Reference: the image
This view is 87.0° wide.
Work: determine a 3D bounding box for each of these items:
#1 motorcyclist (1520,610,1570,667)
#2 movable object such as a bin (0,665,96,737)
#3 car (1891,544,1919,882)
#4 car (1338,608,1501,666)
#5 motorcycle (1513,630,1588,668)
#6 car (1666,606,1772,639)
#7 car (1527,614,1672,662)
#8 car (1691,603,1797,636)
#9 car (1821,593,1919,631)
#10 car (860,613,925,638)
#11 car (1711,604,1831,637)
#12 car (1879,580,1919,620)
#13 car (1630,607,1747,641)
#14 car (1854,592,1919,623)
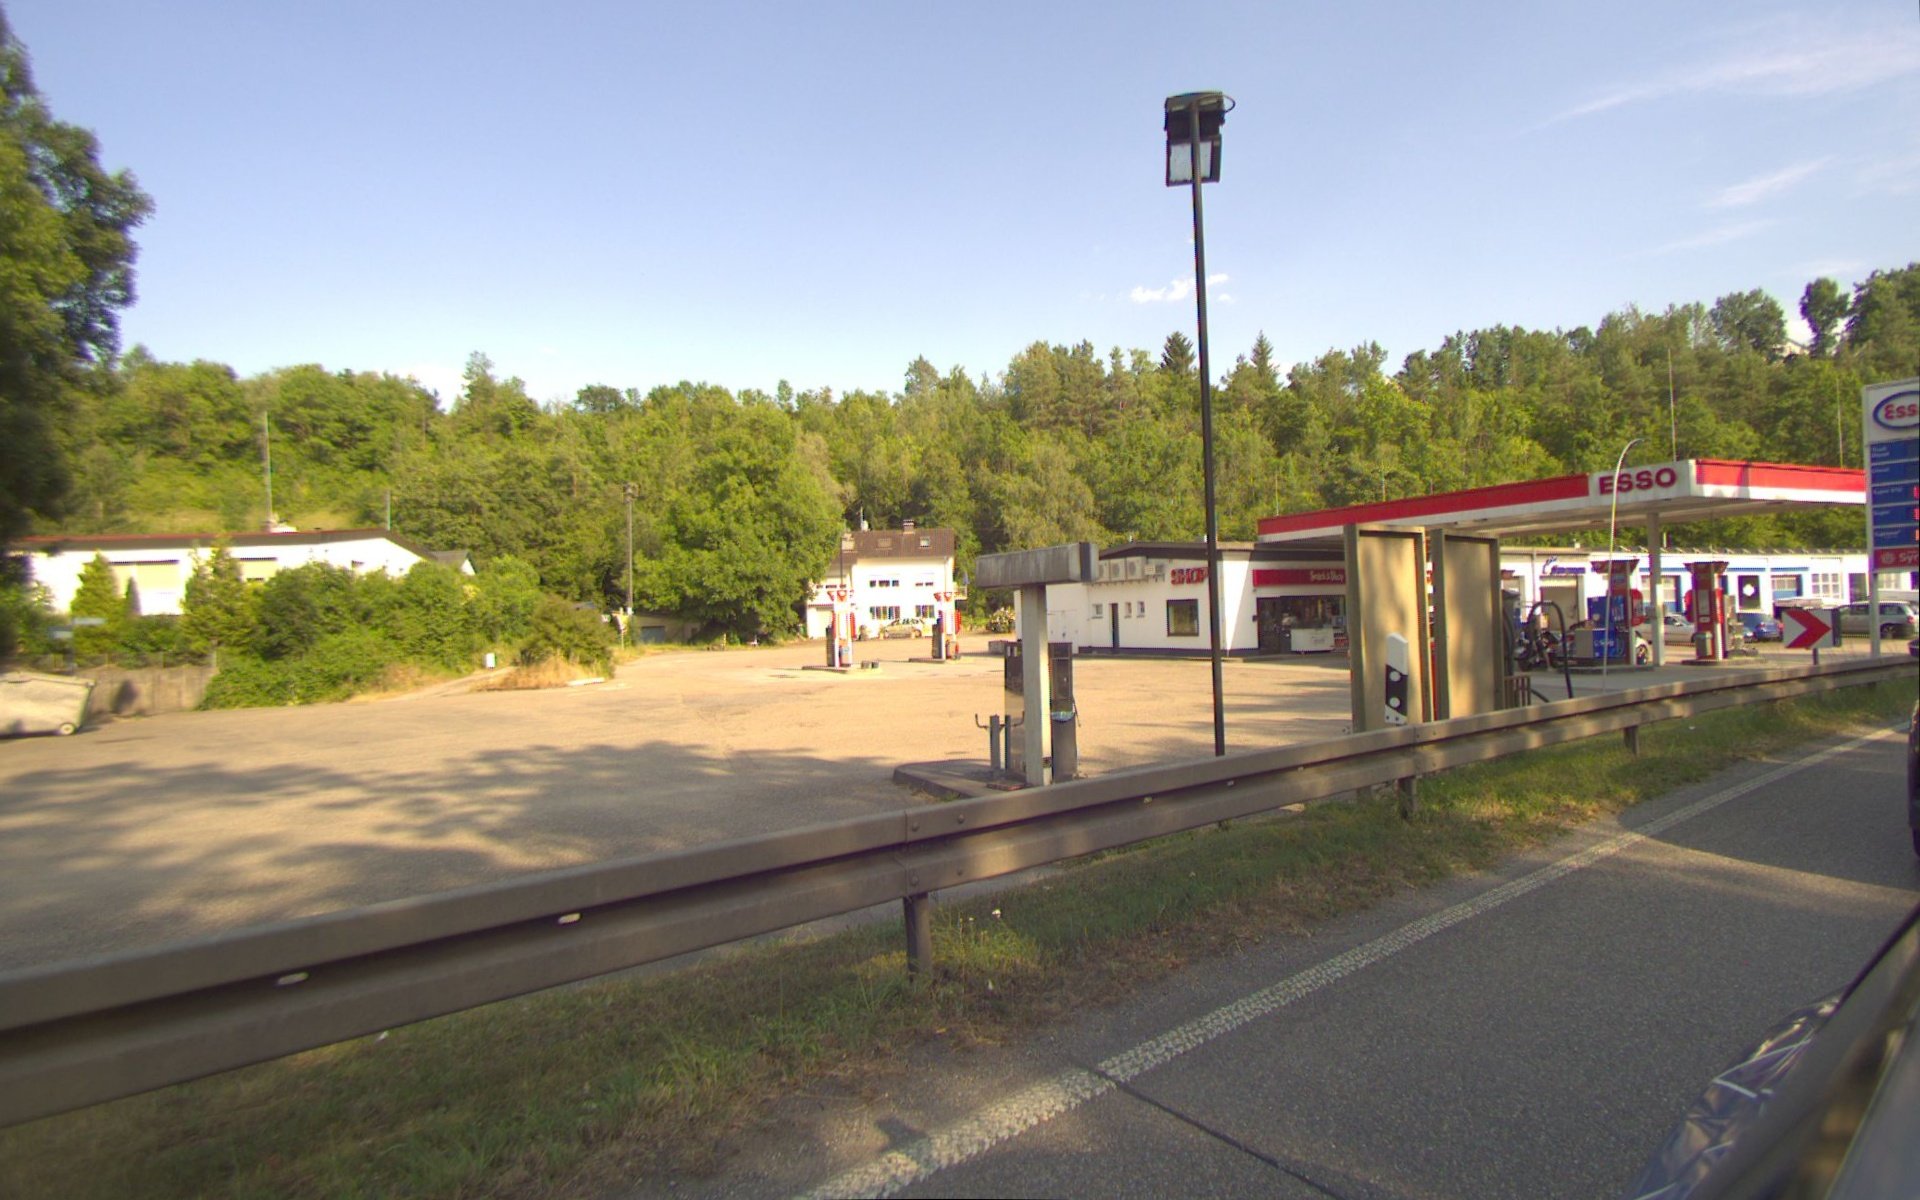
[{"bbox_3d":[17.140,1.119,29.662,0.909,1.625,0.862,0,-1,-27],"label":"motorcyclist"},{"bbox_3d":[-20.205,2.179,21.734,2.512,1.439,1.267,0,-4,-41],"label":"movable object such as a bin"},{"bbox_3d":[6.949,0.543,5.632,4.359,1.661,1.860,0,0,-37],"label":"car"},{"bbox_3d":[14.811,1.134,32.580,5.074,1.649,2.102,-1,0,-28],"label":"car"},{"bbox_3d":[17.358,1.427,29.756,2.293,1.025,0.765,-1,-1,-27],"label":"motorcycle"},{"bbox_3d":[35.149,1.011,46.961,1.656,1.424,3.567,-1,0,-26],"label":"car"},{"bbox_3d":[20.143,1.153,31.857,4.299,1.336,1.851,-1,0,-26],"label":"car"},{"bbox_3d":[37.095,0.906,47.948,1.698,1.464,3.560,-1,0,-26],"label":"car"},{"bbox_3d":[46.483,0.576,51.016,1.854,1.750,4.267,-1,2,-29],"label":"car"},{"bbox_3d":[-5.416,2.054,81.606,5.068,1.860,2.701,-1,-1,0],"label":"car"},{"bbox_3d":[39.011,0.933,48.775,1.856,1.365,4.087,-1,2,-26],"label":"car"},{"bbox_3d":[57.199,0.012,58.599,2.248,2.302,5.501,-1,1,-26],"label":"car"},{"bbox_3d":[32.908,1.036,45.817,1.741,1.371,3.974,-1,1,-30],"label":"car"},{"bbox_3d":[53.021,0.399,56.515,1.856,1.631,4.261,-1,1,-26],"label":"car"}]
